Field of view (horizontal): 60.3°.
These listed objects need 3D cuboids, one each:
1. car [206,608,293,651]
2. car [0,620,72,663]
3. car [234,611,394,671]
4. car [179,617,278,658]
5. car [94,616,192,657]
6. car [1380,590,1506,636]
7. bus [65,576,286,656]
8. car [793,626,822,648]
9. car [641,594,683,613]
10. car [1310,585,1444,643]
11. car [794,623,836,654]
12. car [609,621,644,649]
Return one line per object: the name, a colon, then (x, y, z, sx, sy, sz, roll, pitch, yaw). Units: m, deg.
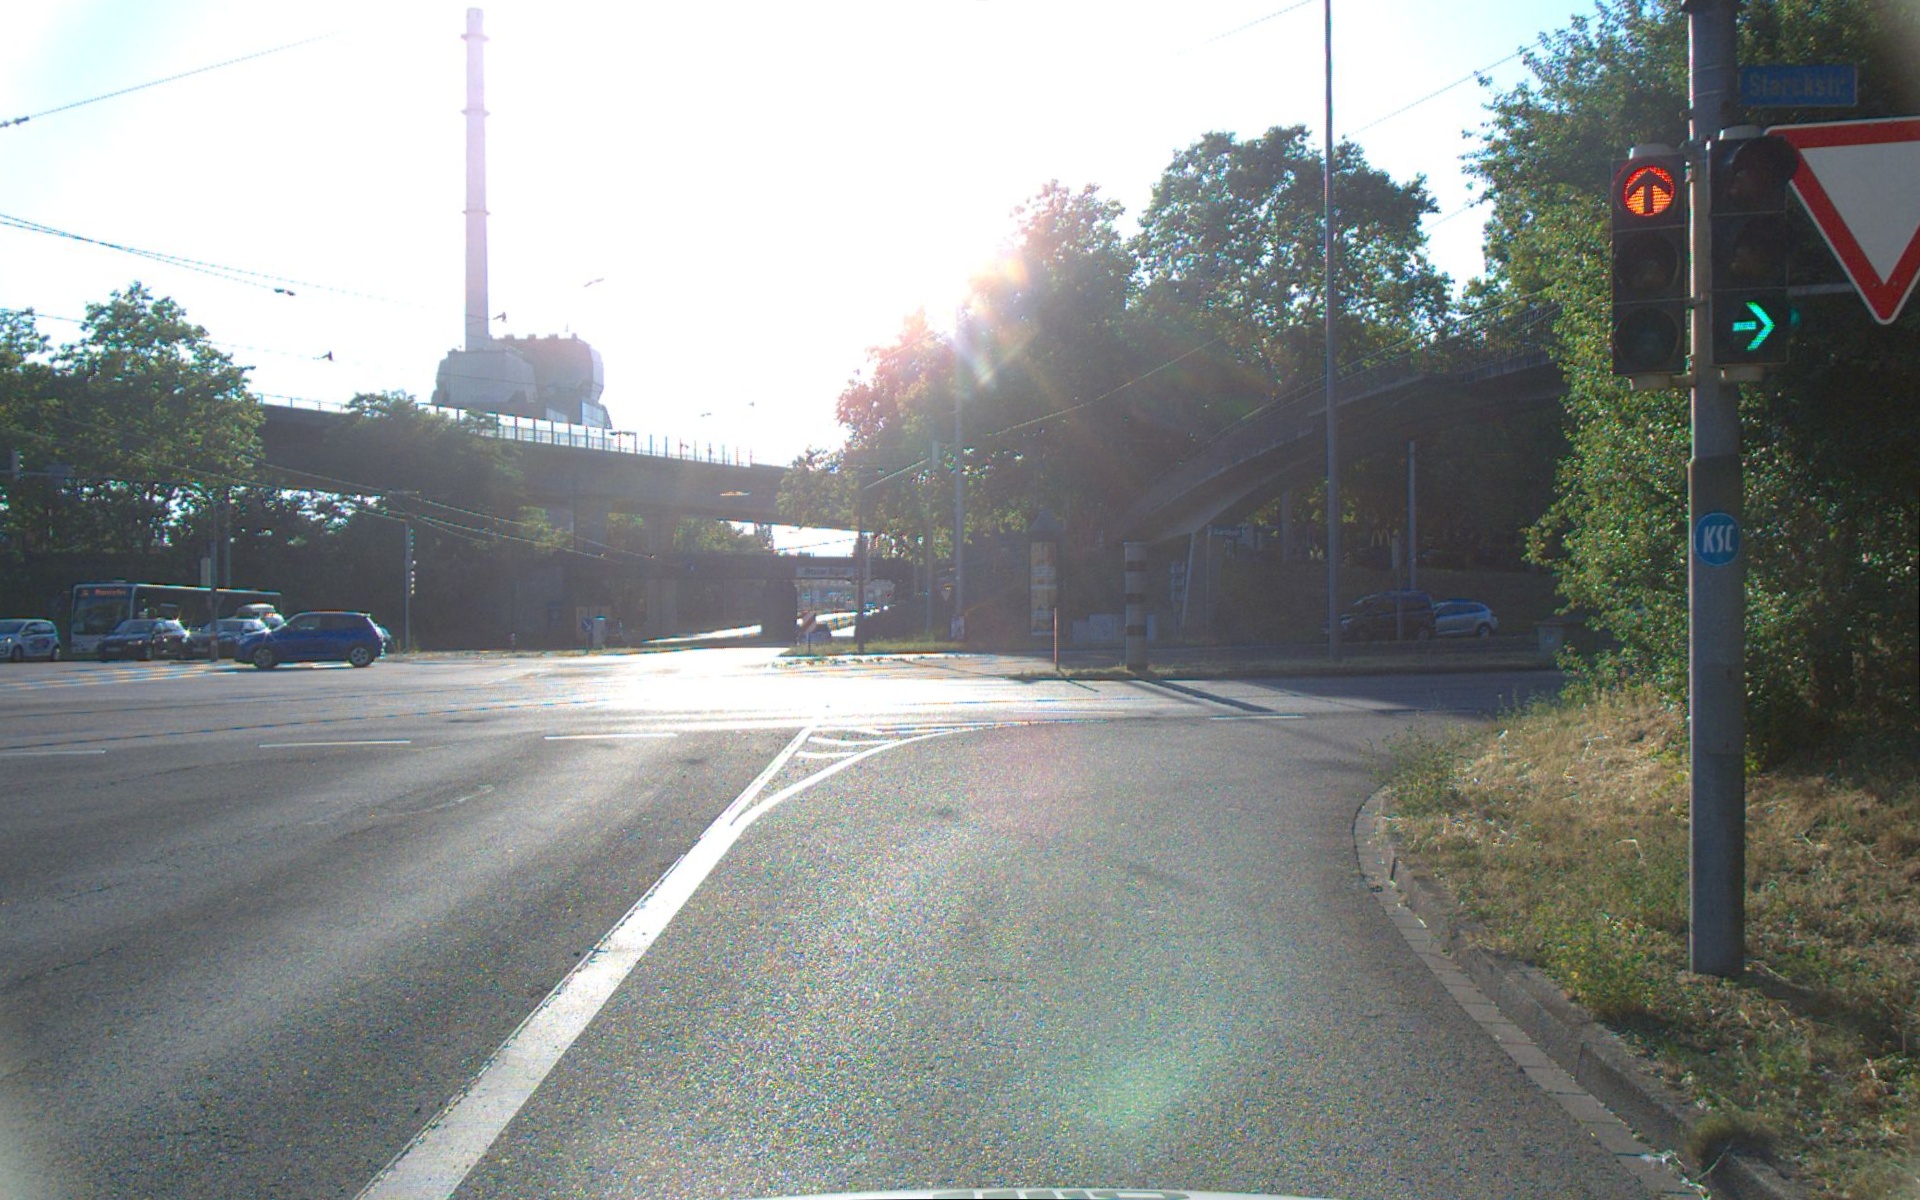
car: (-28.221, 1.156, 65.817, 1.676, 1.681, 4.094, 0, -1, 0)
car: (-32.075, 1.394, 56.524, 1.572, 1.378, 3.732, 0, -1, -3)
car: (-17.498, 1.082, 45.018, 3.859, 1.586, 1.991, 0, -1, -16)
car: (-25.717, 1.302, 58.264, 1.676, 1.378, 4.094, 0, 0, 0)
car: (-28.485, 1.258, 57.781, 1.572, 1.378, 3.998, 0, -1, -3)
car: (18.003, 0.480, 61.707, 4.291, 1.637, 1.846, 0, 0, -20)
bus: (-32.103, 0.663, 68.580, 2.764, 3.006, 12.854, 0, 0, 1)
car: (-10.736, 2.587, 116.652, 1.657, 1.447, 4.150, 0, -1, -1)
car: (-29.620, 0.341, 164.470, 1.957, 1.802, 3.991, 0, -1, 31)
car: (14.109, 0.476, 56.047, 4.066, 1.900, 1.848, 0, 0, -17)
car: (-8.114, 2.115, 92.076, 1.682, 1.681, 4.202, 0, -1, -15)
car: (-20.754, 2.137, 103.051, 1.677, 1.681, 4.091, 0, -1, -5)
